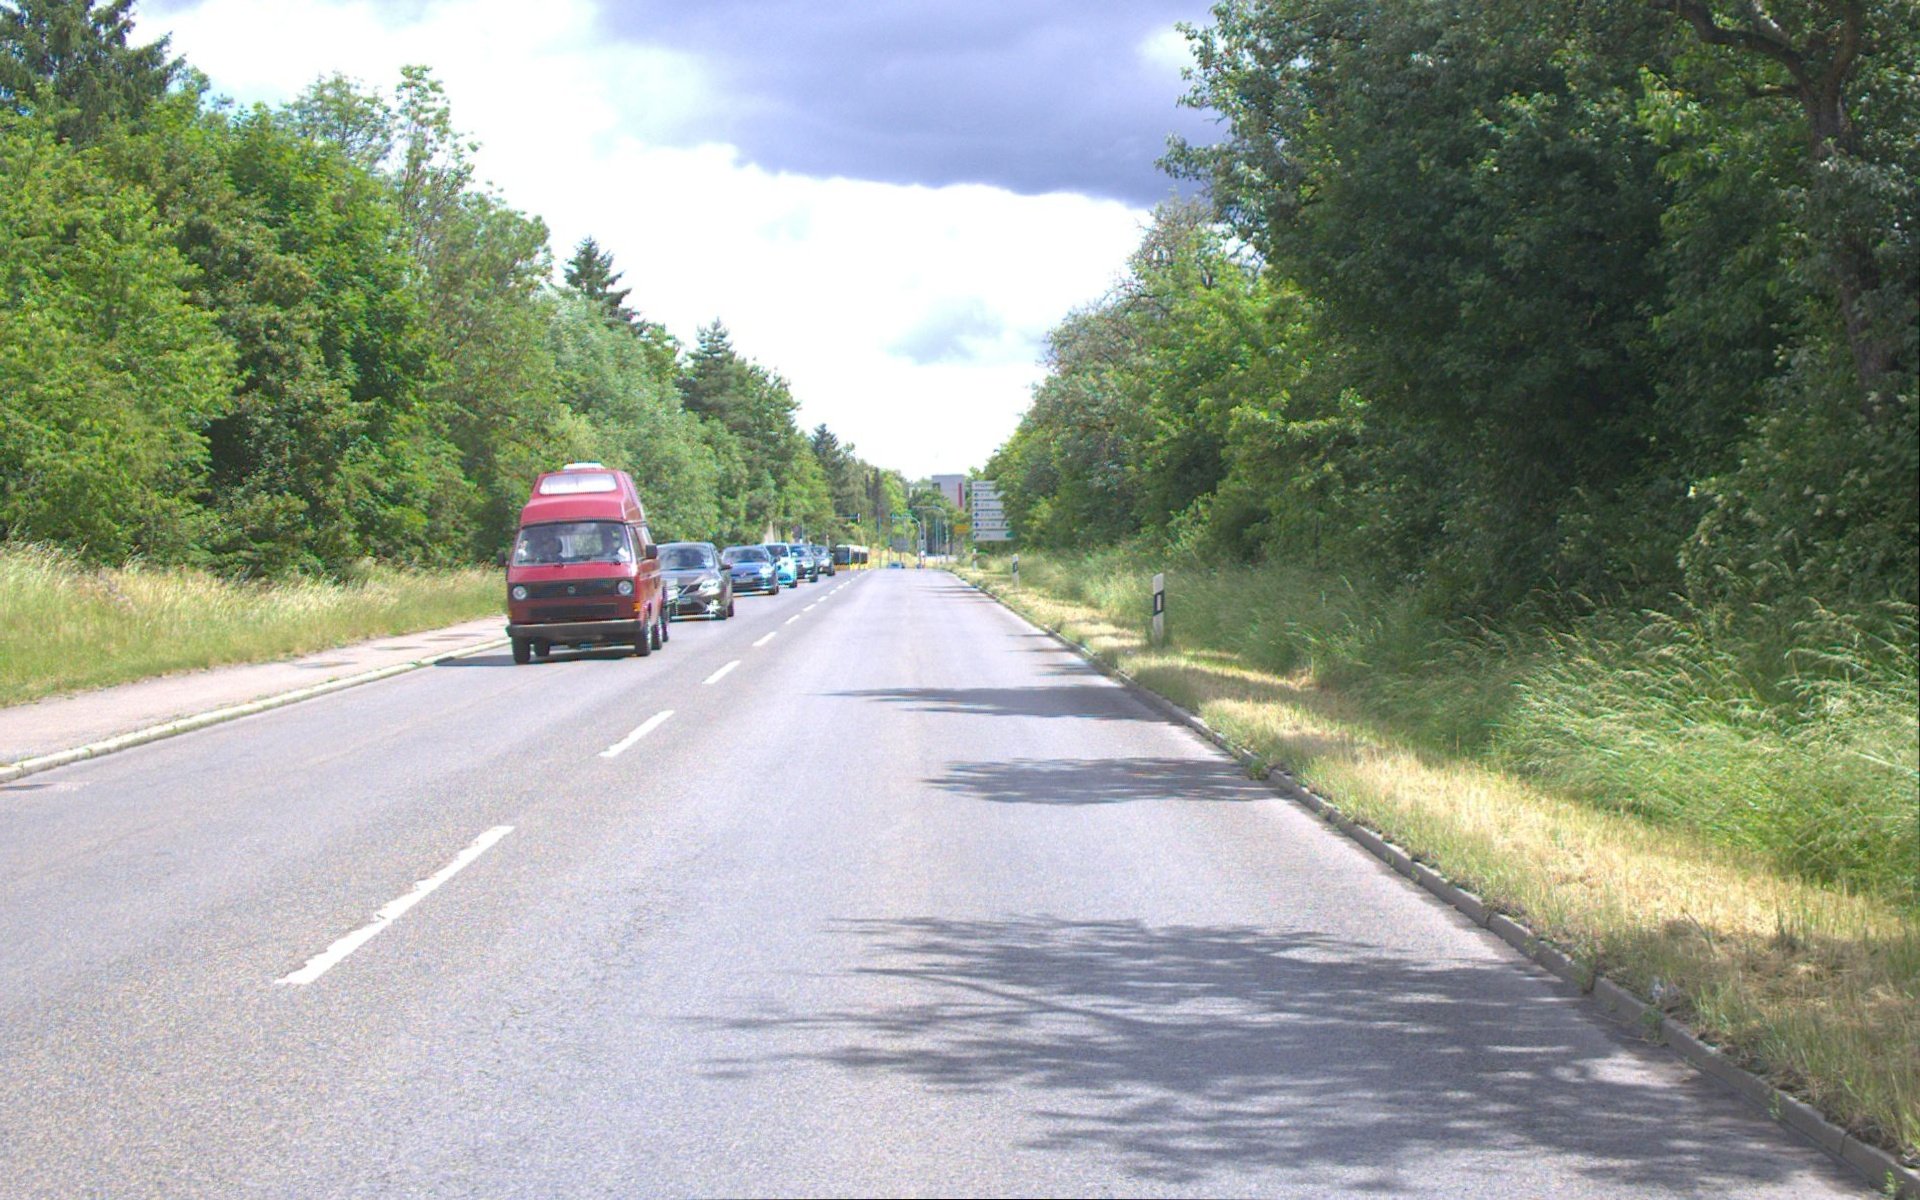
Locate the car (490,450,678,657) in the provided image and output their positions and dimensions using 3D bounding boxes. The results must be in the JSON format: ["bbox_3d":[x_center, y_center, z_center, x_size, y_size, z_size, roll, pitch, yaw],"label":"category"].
[{"bbox_3d":[-5.000,-0.639,46.306,1.969,2.541,4.725,-3,1,-1],"label":"car"}]

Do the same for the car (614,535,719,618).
[{"bbox_3d":[-5.640,-0.481,66.480,1.716,1.466,4.000,-3,1,-2],"label":"car"}]

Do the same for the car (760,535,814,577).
[{"bbox_3d":[-6.559,-1.676,130.681,1.884,1.486,4.718,-3,1,-2],"label":"car"}]

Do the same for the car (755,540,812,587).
[{"bbox_3d":[-5.875,-1.229,114.595,1.784,1.441,2.967,-3,1,-2],"label":"car"}]

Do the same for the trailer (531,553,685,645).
[{"bbox_3d":[-5.153,-0.041,50.725,1.891,1.196,3.917,-3,1,-1],"label":"trailer"}]

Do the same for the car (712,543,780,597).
[{"bbox_3d":[-6.131,-0.883,98.843,1.784,1.441,4.453,-3,1,-2],"label":"car"}]
